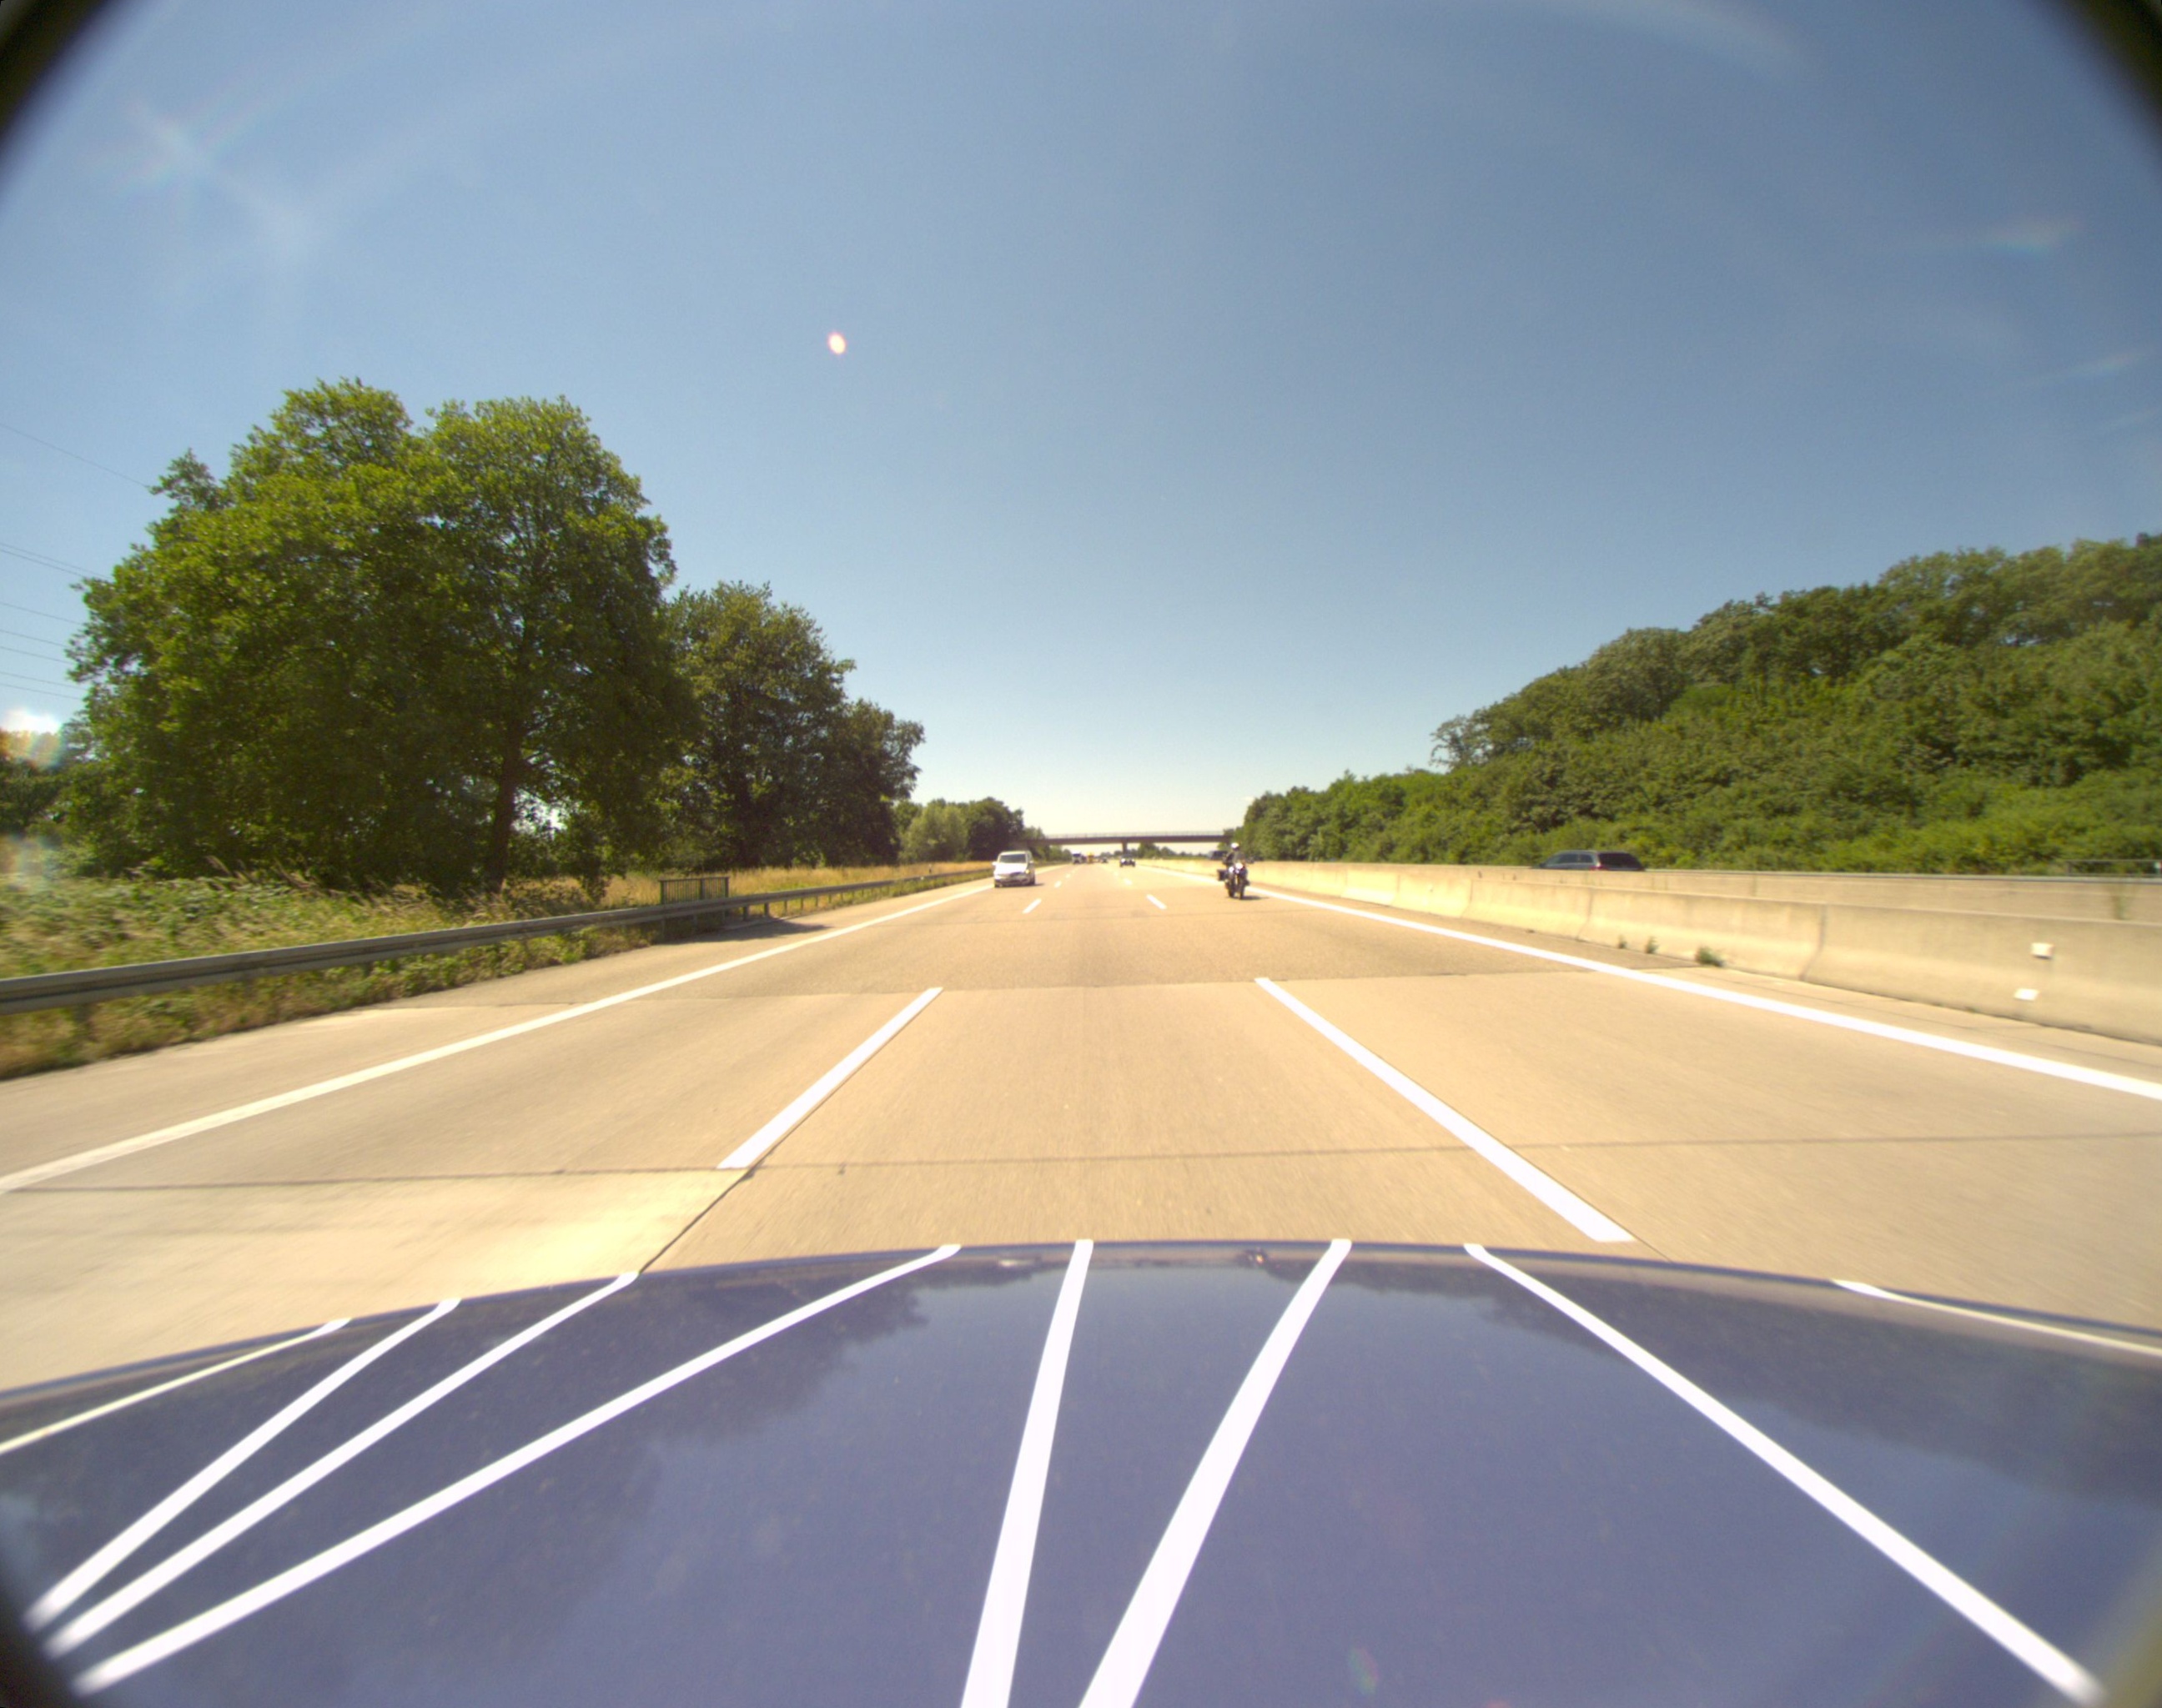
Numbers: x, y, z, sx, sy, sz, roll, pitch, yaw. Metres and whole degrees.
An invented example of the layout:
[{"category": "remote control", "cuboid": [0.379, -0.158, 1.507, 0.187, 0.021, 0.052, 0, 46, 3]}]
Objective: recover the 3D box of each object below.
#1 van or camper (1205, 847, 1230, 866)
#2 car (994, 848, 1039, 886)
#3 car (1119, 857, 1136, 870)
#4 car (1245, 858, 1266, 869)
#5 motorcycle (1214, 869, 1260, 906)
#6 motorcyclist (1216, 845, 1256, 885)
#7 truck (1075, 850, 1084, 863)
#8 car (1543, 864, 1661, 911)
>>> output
[{"category": "van or camper", "cuboid": [14.192, 0.291, 79.271, 1.852, 1.871, 4.417, -1, 0, 0]}, {"category": "car", "cuboid": [-3.474, 0.714, 41.875, 1.884, 1.877, 5.280, -2, -1, 1]}, {"category": "car", "cuboid": [5.773, 1.161, 95.097, 1.998, 1.518, 4.000, -1, 0, 1]}, {"category": "car", "cuboid": [22.532, 1.178, 98.297, 1.932, 1.368, 4.001, -1, 0, 1]}, {"category": "motorcycle", "cuboid": [4.768, 0.998, 23.436, 1.023, 1.042, 2.414, -2, -1, 3]}, {"category": "motorcyclist", "cuboid": [4.767, 0.349, 23.422, 1.027, 1.201, 0.911, -1, -1, 2]}, {"category": "truck", "cuboid": [-0.488, 0.803, 230.338, 2.570, 3.513, 10.102, -1, -1, 1]}, {"category": "car", "cuboid": [17.413, 1.077, 25.592, 1.635, 1.410, 3.523, -1, 0, 2]}]
